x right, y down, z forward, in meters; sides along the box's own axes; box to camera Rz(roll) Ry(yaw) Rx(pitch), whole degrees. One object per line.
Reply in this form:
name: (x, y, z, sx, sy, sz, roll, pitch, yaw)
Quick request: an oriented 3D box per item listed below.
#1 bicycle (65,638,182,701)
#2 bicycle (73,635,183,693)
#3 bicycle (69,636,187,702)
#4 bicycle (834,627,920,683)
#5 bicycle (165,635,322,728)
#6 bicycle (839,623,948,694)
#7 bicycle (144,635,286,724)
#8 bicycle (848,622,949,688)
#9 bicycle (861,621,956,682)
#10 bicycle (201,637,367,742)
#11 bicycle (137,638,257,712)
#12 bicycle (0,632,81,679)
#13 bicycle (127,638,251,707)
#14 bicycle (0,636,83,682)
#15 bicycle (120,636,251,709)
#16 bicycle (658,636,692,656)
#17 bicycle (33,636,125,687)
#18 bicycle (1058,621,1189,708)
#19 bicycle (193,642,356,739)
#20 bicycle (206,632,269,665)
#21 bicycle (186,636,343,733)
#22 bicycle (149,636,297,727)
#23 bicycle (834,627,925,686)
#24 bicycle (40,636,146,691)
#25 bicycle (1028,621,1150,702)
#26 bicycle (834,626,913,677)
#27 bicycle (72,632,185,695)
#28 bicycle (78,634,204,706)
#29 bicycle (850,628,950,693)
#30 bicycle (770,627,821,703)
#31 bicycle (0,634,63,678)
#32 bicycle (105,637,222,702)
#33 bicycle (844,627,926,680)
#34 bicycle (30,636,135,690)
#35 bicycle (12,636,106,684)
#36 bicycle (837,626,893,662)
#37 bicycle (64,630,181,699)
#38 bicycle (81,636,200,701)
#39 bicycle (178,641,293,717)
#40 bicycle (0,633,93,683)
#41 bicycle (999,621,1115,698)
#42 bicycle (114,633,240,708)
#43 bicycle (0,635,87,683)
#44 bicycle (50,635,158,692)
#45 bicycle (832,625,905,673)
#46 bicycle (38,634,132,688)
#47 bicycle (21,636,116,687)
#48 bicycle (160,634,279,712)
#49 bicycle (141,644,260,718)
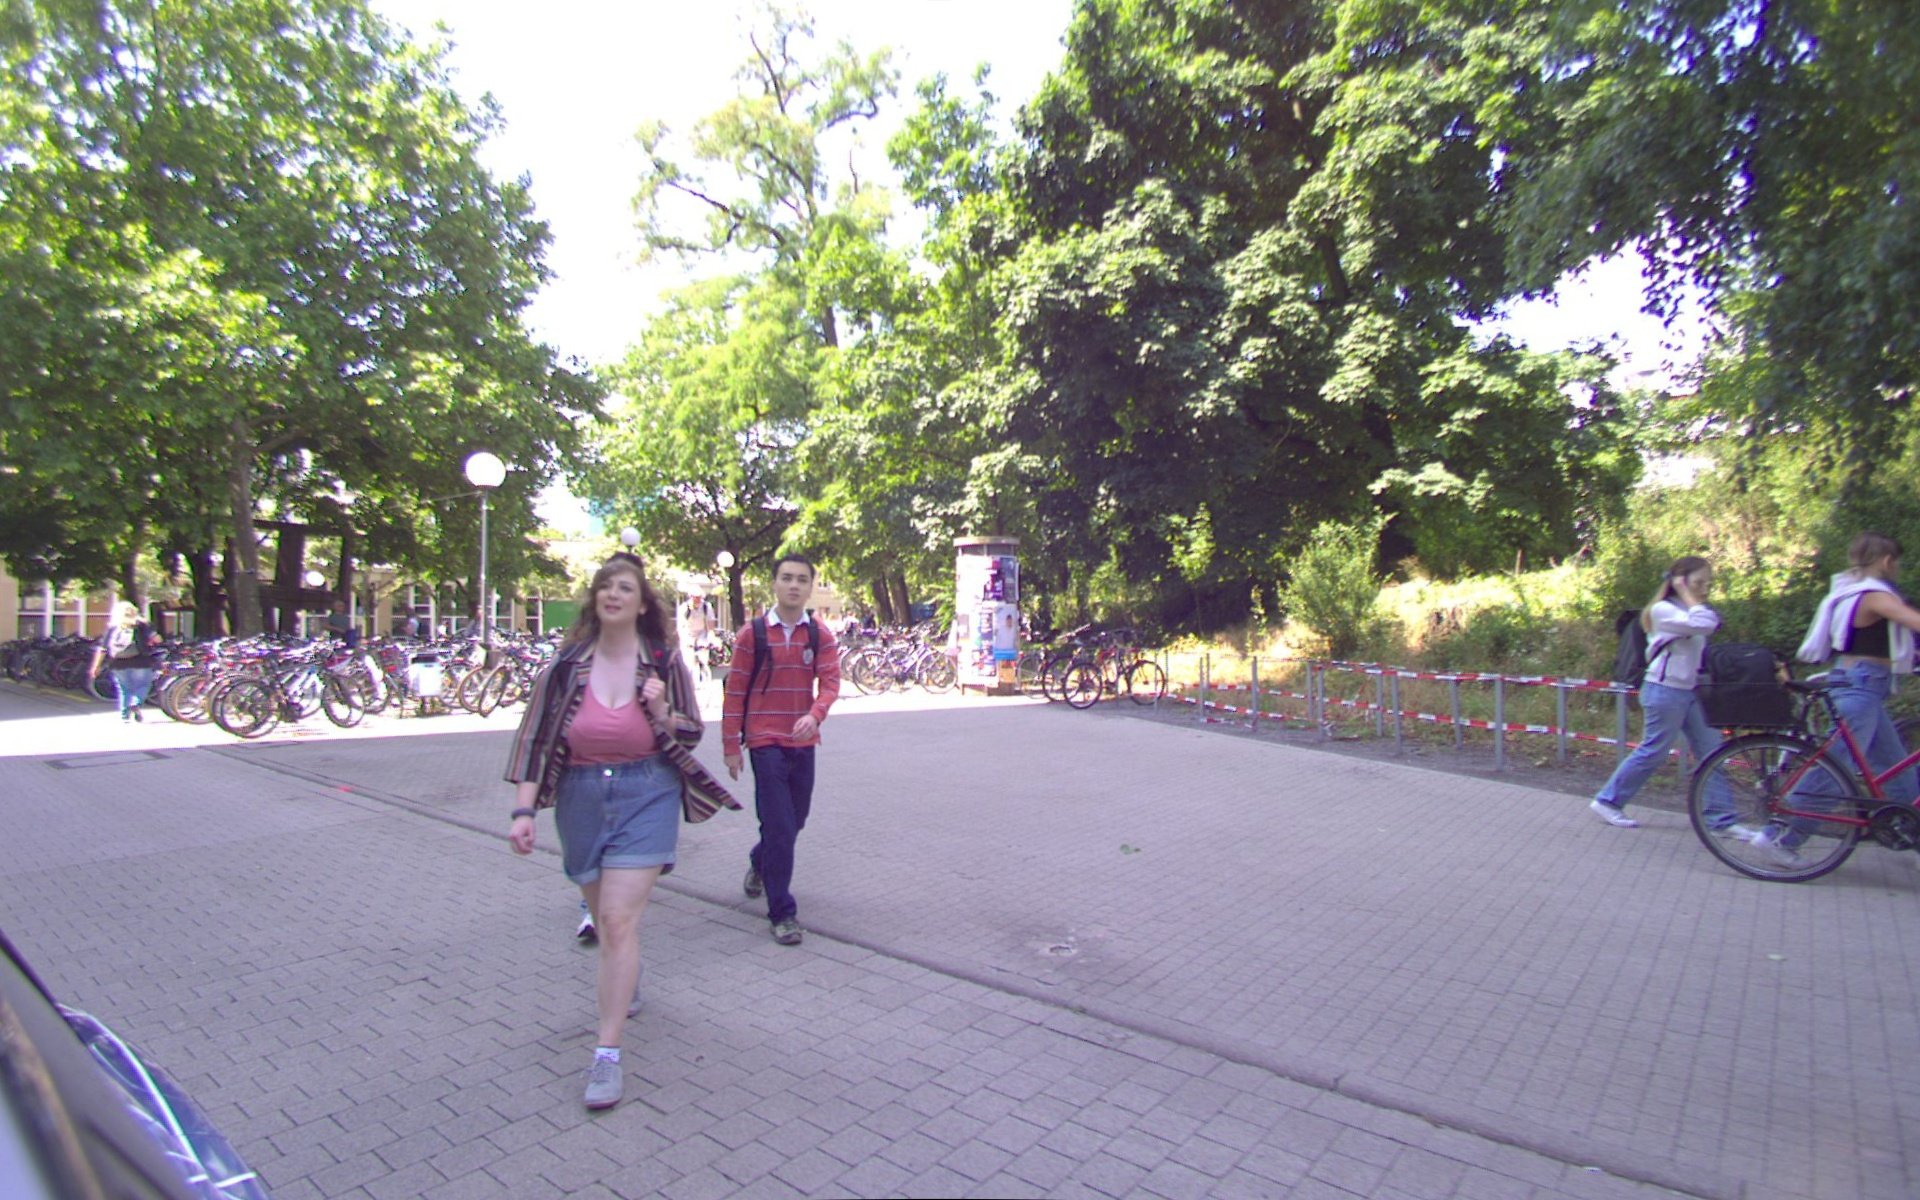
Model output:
bicycle: (-16.144, 1.310, 19.570, 0.495, 1.116, 1.682, -1, -1, 29)
bicycle: (-17.215, 1.302, 20.987, 0.494, 1.116, 1.724, -1, -1, 27)
bicycle: (-15.756, 1.279, 19.216, 0.472, 1.154, 1.683, -1, -1, 28)
bicycle: (-1.740, 1.129, 21.158, 1.749, 1.118, 0.475, -1, -1, -11)
bicycle: (-9.891, 1.097, 14.027, 1.752, 1.177, 0.475, 0, -1, -37)
bicycle: (-1.105, 0.951, 16.657, 1.750, 1.118, 0.475, -1, -1, -6)
bicycle: (-10.860, 1.130, 14.818, 0.471, 1.177, 1.686, -1, -1, 23)
bicycle: (-1.088, 0.951, 17.766, 1.750, 1.118, 0.475, -1, -1, -6)
bicycle: (-0.981, 0.964, 19.290, 1.749, 1.118, 0.475, -1, -1, -11)
bicycle: (-8.369, 1.069, 12.603, 0.472, 1.168, 1.681, -1, -1, 31)
bicycle: (-12.552, 1.209, 16.705, 0.469, 1.116, 1.692, -1, -1, 13)
bicycle: (-24.327, 1.453, 26.750, 0.497, 1.159, 1.608, -1, -1, 40)
bicycle: (-13.750, 1.263, 18.095, 0.563, 1.116, 1.683, -1, -1, 29)
bicycle: (-23.807, 1.511, 26.173, 0.643, 1.116, 1.610, -1, -1, 35)
bicycle: (-13.107, 1.202, 17.181, 0.580, 1.116, 1.683, -1, -1, 29)
bicycle: (-16.345, 2.618, 57.990, 0.605, 1.116, 1.805, 0, -1, 42)
bicycle: (-20.900, 1.440, 24.052, 1.603, 1.116, 0.564, 0, -1, -36)
bicycle: (2.245, 0.865, 13.876, 1.747, 1.118, 0.475, 0, -1, -21)
bicycle: (-8.709, 1.119, 12.925, 0.473, 1.099, 1.680, -1, -1, 34)
bicycle: (-25.880, 1.714, 36.273, 0.392, 1.116, 1.818, -1, -1, 33)
bicycle: (-9.228, 1.086, 13.492, 0.473, 1.177, 1.680, -1, -1, 34)
bicycle: (-10.466, 1.124, 14.445, 0.472, 1.177, 1.684, -1, -1, 27)
bicycle: (-1.596, 1.111, 20.111, 1.749, 1.118, 0.475, -1, -1, -11)
bicycle: (-18.979, 1.369, 22.185, 0.496, 1.116, 1.717, -1, -1, 40)
bicycle: (1.900, 0.882, 14.897, 1.747, 1.118, 0.475, 0, -1, -21)
bicycle: (-1.979, 1.166, 23.126, 1.749, 1.118, 0.518, -1, -1, -11)
bicycle: (-16.768, 1.259, 20.446, 0.496, 1.187, 1.718, -1, -1, 39)
bicycle: (-14.718, 1.231, 18.231, 0.535, 1.207, 1.681, -1, -1, 32)
bicycle: (-1.092, 1.075, 18.322, 1.749, 1.118, 0.475, -1, -1, -11)
bicycle: (-2.638, 1.000, 16.111, 0.466, 1.118, 1.851, 0, -1, -19)
bicycle: (-25.083, 1.479, 27.067, 0.691, 1.116, 1.606, -1, -1, 45)
bicycle: (-14.889, 1.279, 18.960, 0.472, 1.116, 1.683, -1, -1, 29)
bicycle: (-1.654, 1.173, 22.307, 1.749, 1.118, 0.518, -1, -1, -11)
bicycle: (-19.664, 1.396, 22.725, 1.711, 1.116, 0.576, 0, -1, -31)
bicycle: (-22.138, 1.457, 24.914, 1.699, 1.116, 0.720, 0, -1, -39)
bicycle: (-3.030, 1.396, 32.162, 1.750, 1.118, 0.518, -1, -1, -8)
bicycle: (-16.466, 1.242, 19.933, 0.495, 1.245, 1.721, -1, -1, 33)
bicycle: (-15.344, 1.265, 18.996, 0.472, 1.116, 1.683, -1, -1, 28)
bicycle: (-11.235, 1.199, 15.762, 0.468, 1.070, 1.697, -1, -1, 5)
bicycle: (-23.295, 1.460, 25.799, 0.496, 1.170, 1.764, -1, -1, 35)
bicycle: (1.503, 0.903, 15.691, 1.747, 1.118, 0.475, 0, -1, -21)
bicycle: (-13.514, 1.187, 17.518, 0.472, 1.196, 1.683, -1, -1, 29)
bicycle: (-22.998, 1.460, 25.381, 0.496, 1.116, 1.610, -1, -1, 35)
bicycle: (-18.453, 1.342, 21.850, 0.496, 1.135, 1.720, -1, -1, 35)
bicycle: (-2.276, 1.203, 25.058, 1.750, 1.118, 0.518, -1, -1, -8)
bicycle: (-20.072, 1.387, 23.256, 1.603, 1.152, 0.498, 0, -1, -36)
bicycle: (-20.667, 1.415, 23.495, 1.603, 1.116, 0.498, 0, -1, -36)
bicycle: (-12.103, 1.166, 16.601, 0.469, 1.166, 1.692, -1, -1, 13)
bicycle: (-11.739, 1.222, 15.707, 0.468, 1.026, 1.697, -1, -1, 5)
